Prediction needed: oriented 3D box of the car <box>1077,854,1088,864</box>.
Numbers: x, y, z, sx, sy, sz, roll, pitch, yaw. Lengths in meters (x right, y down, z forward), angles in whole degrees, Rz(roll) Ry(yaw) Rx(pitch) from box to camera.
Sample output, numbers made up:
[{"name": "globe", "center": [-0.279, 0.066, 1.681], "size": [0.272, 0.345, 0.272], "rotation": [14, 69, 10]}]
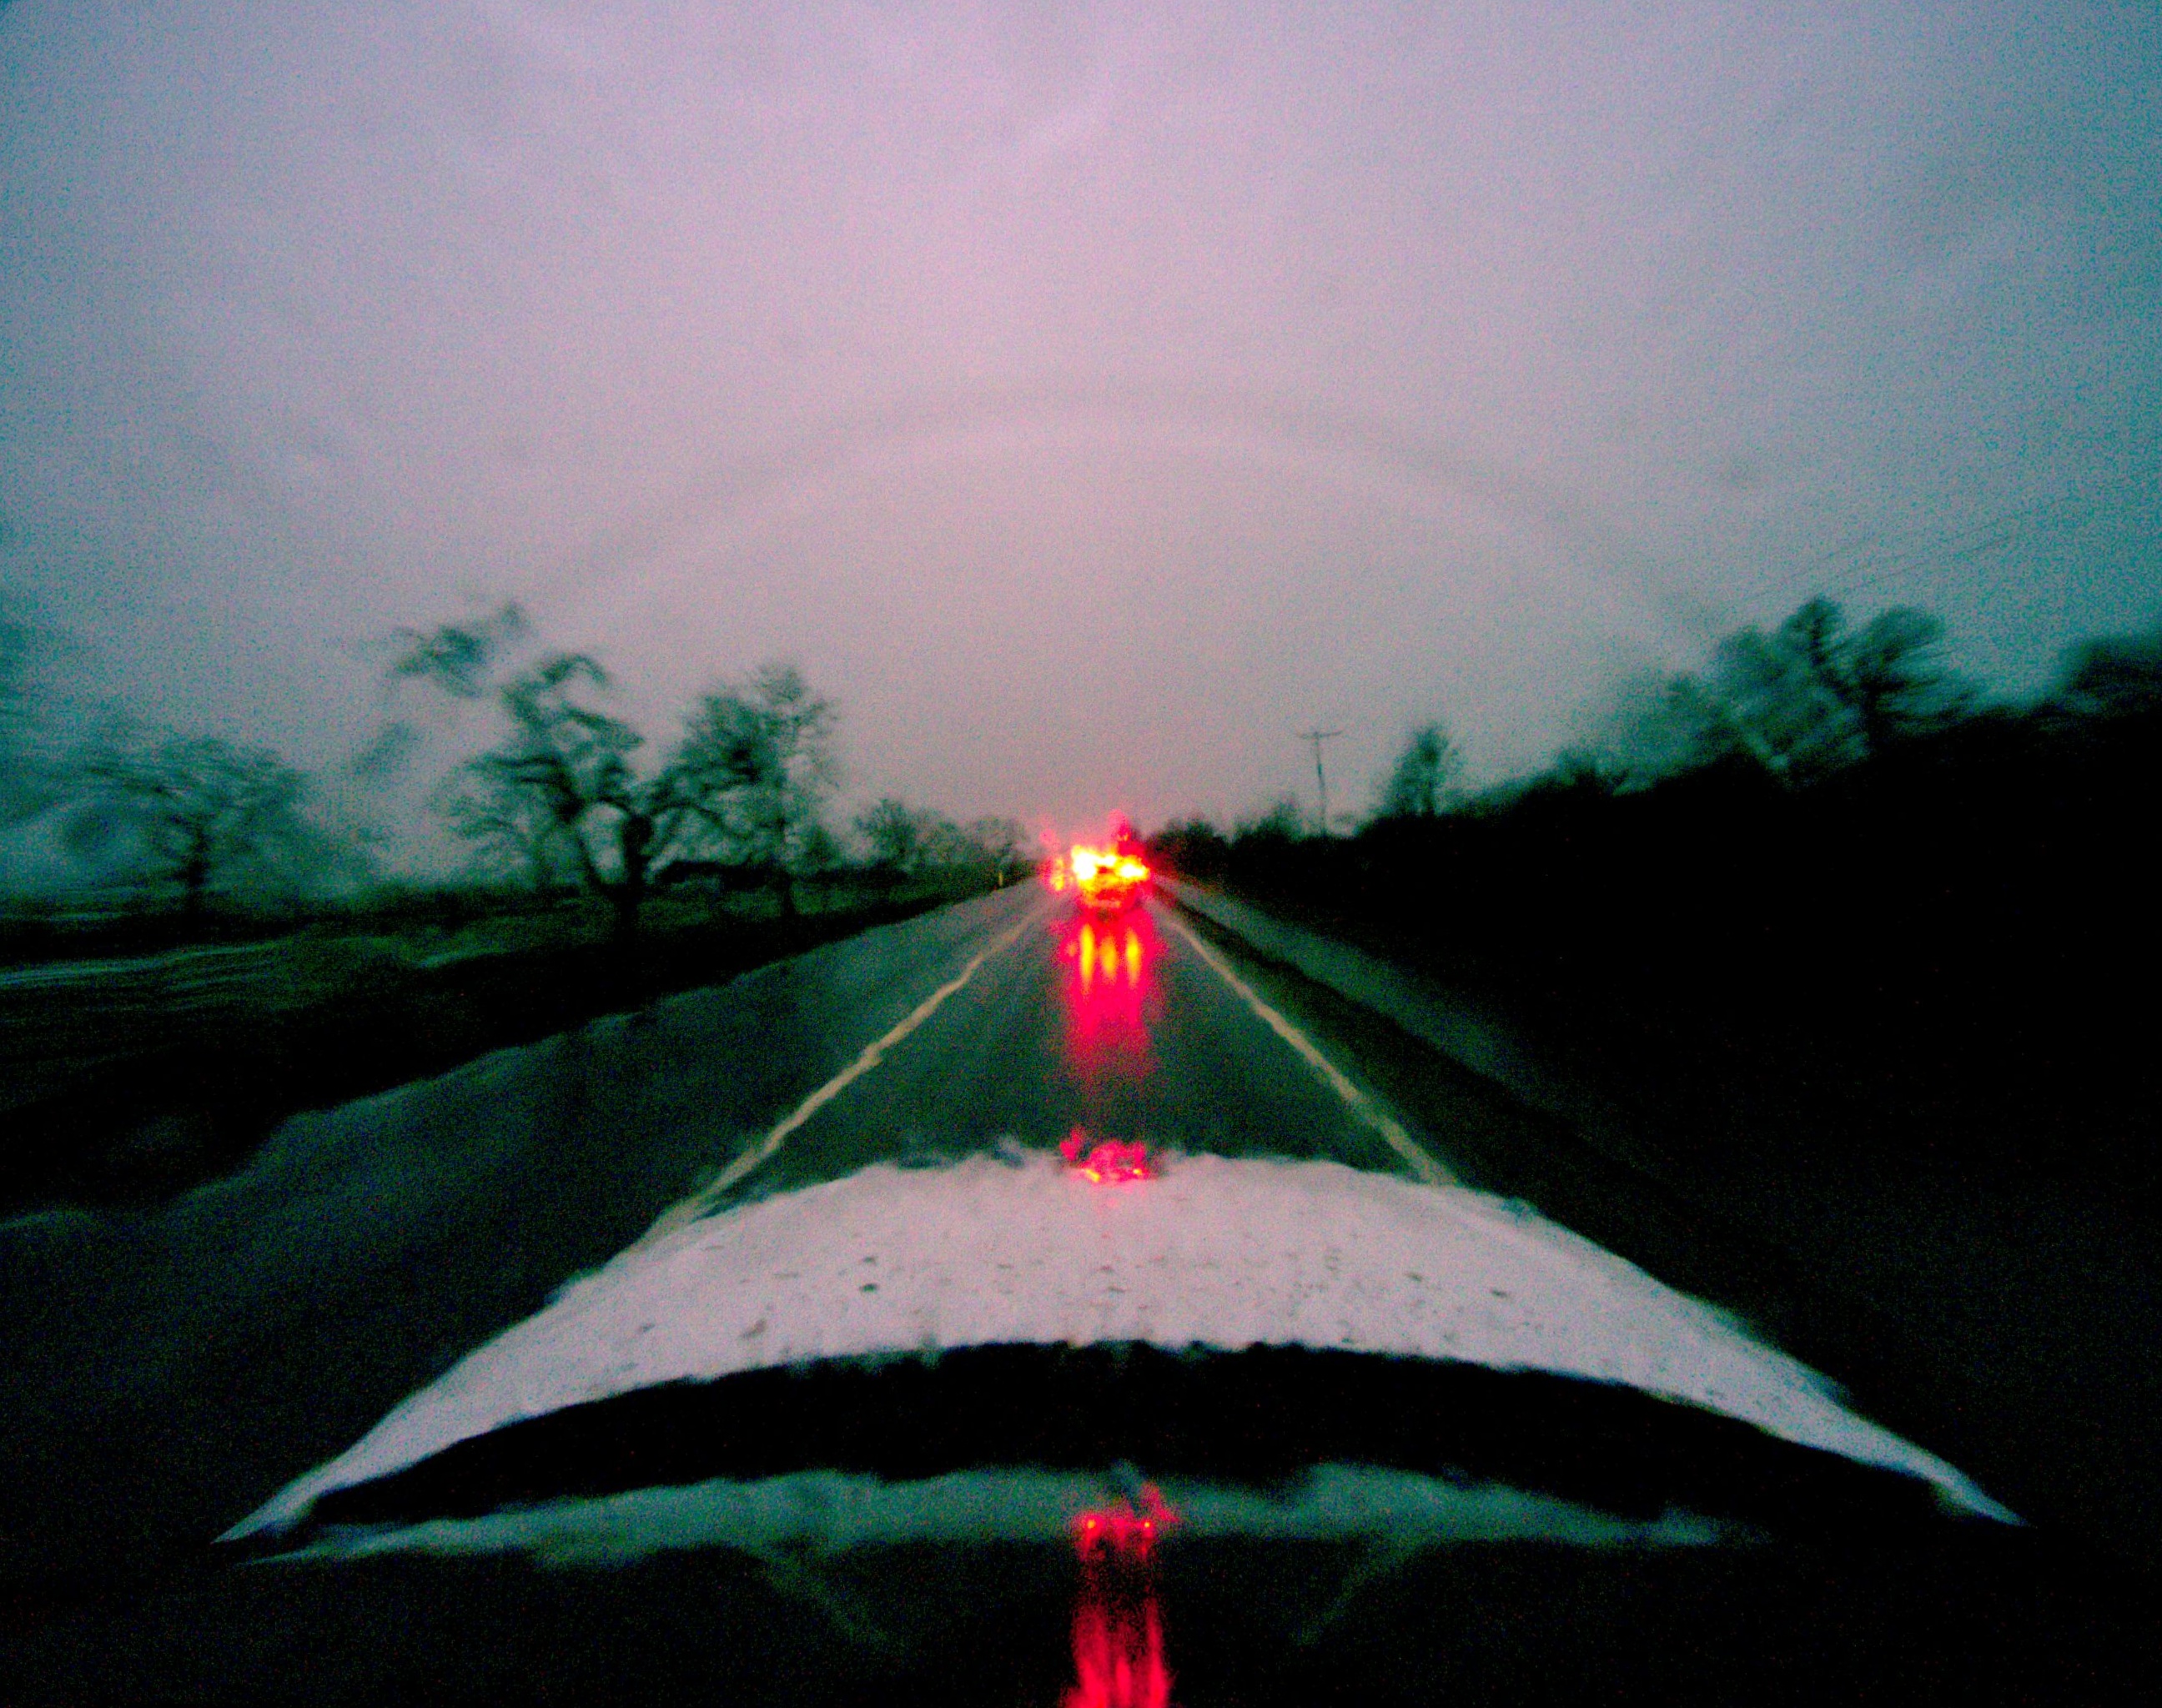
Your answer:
[{"name": "car", "center": [0.238, 0.896, 138.039], "size": [1.850, 1.517, 4.514], "rotation": [-3, 0, -1]}]

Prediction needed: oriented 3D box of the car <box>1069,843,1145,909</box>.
[{"name": "car", "center": [0.816, 0.617, 25.536], "size": [2.112, 1.820, 4.982], "rotation": [-1, 0, 2]}]

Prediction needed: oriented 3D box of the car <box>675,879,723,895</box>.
[{"name": "car", "center": [-32.867, 2.833, 70.206], "size": [3.444, 1.342, 1.592], "rotation": [0, -1, -13]}]
